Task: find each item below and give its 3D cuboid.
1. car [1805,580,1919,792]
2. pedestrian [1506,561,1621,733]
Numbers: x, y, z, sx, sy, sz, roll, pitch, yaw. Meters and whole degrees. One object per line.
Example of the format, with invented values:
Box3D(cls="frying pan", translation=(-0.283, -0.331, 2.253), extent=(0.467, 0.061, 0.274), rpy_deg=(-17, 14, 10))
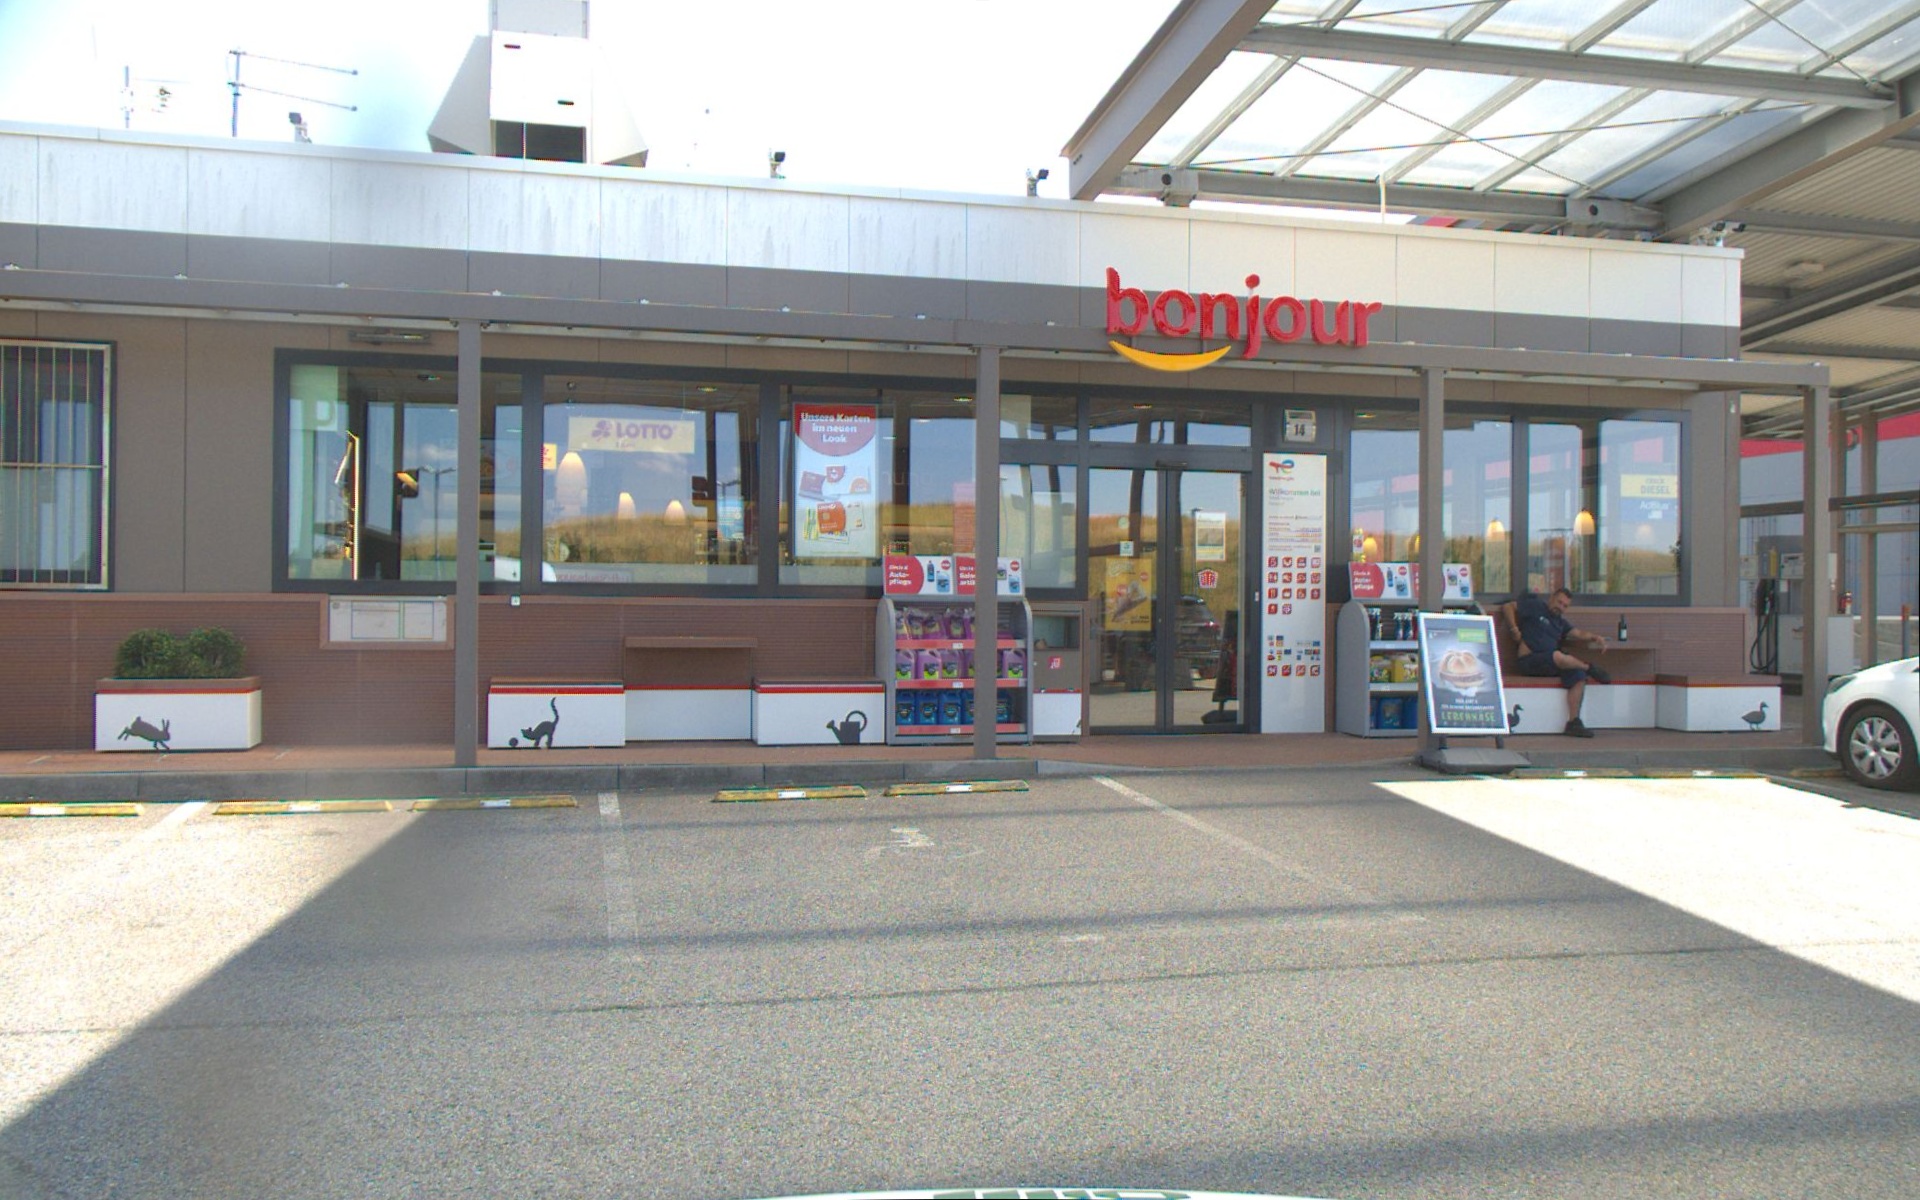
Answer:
Box3D(cls="car", translation=(7.976, 0.620, 10.850), extent=(1.803, 1.482, 4.296), rpy_deg=(0, 1, -20))
Box3D(cls="pedestrian", translation=(5.258, 0.394, 14.432), extent=(0.689, 1.457, 0.670), rpy_deg=(0, 0, -15))
